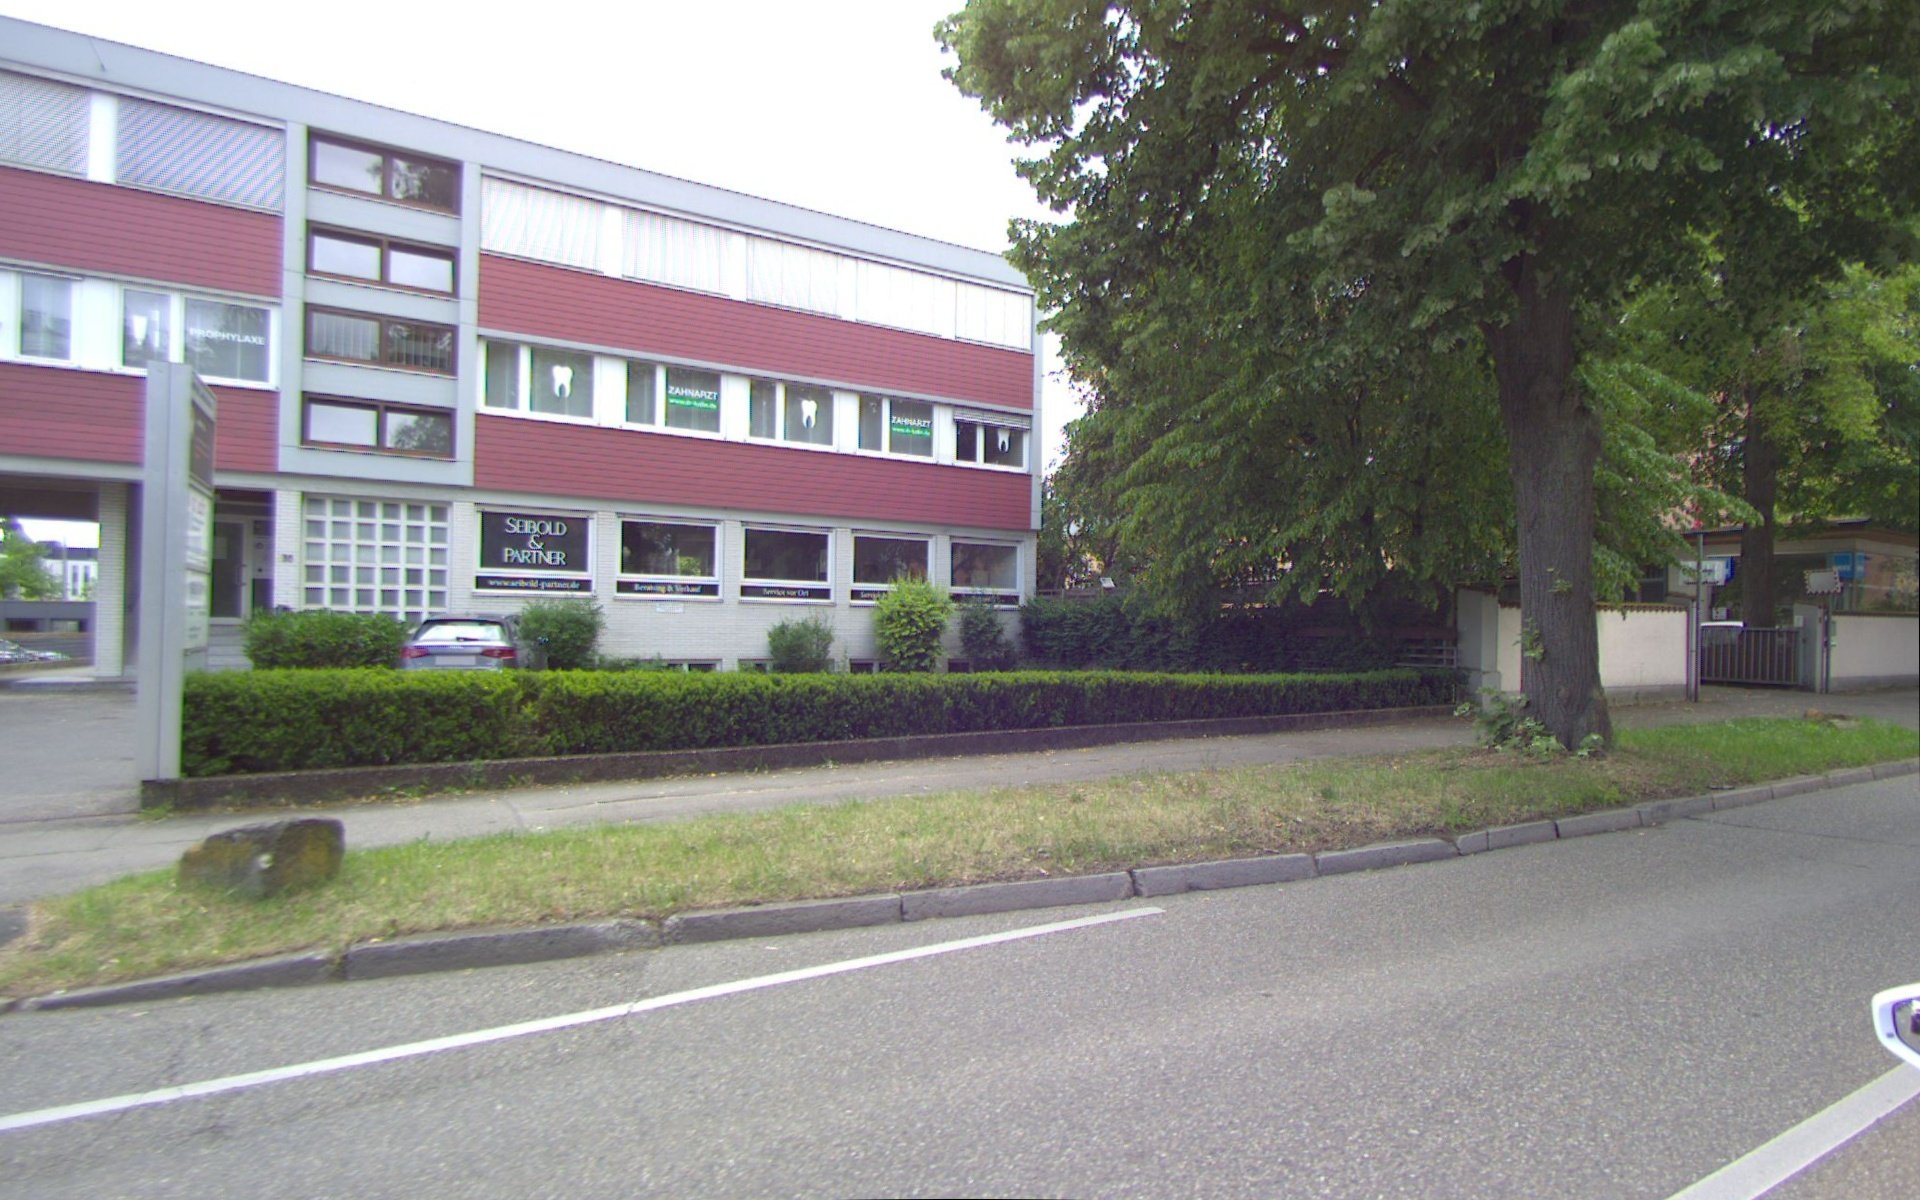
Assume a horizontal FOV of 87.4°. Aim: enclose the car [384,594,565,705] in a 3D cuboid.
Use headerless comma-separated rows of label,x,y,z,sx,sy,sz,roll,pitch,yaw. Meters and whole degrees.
car,-7.488,0.684,15.897,1.782,1.499,4.138,2,0,-15
